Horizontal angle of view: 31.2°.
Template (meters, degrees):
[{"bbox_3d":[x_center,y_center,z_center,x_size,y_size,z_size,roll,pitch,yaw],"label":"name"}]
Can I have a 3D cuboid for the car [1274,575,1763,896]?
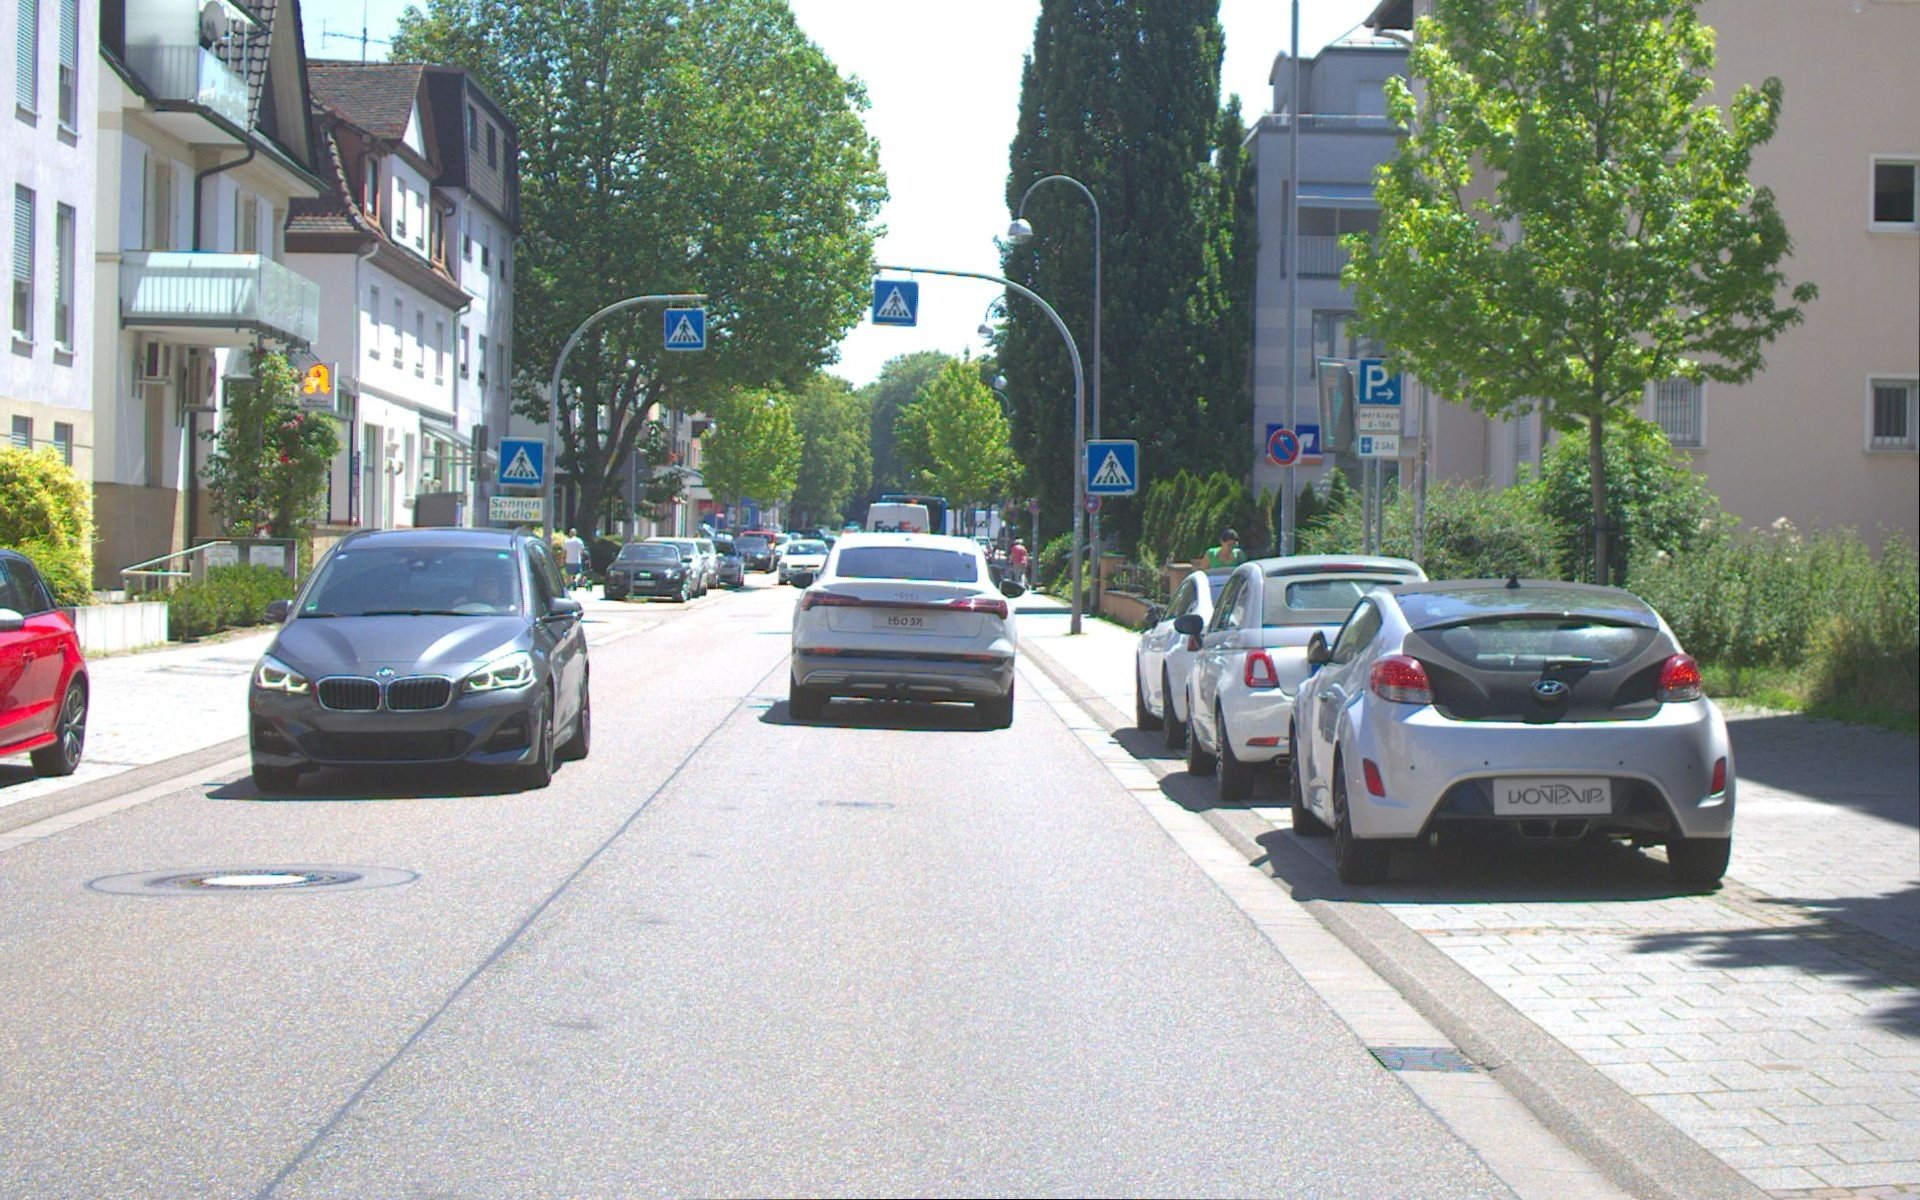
[{"bbox_3d":[2.655,0.584,17.235,1.862,1.368,4.000,0,1,1],"label":"car"}]

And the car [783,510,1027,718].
[{"bbox_3d":[-0.480,0.073,30.787,1.936,1.609,4.472,4,1,-1],"label":"car"}]

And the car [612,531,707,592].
[{"bbox_3d":[-7.033,-0.921,80.849,1.993,1.345,4.001,1,1,-2],"label":"car"}]

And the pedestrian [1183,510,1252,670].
[{"bbox_3d":[2.849,-0.115,38.106,0.637,1.752,0.617,1,1,-5],"label":"pedestrian"}]

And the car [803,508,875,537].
[{"bbox_3d":[-7.230,-4.638,205.537,3.988,1.645,2.000,1,1,6],"label":"car"}]

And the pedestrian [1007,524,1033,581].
[{"bbox_3d":[1.807,-1.442,103.993,0.693,1.730,0.668,1,1,-5],"label":"pedestrian"}]

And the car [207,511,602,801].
[{"bbox_3d":[-3.467,0.281,22.252,1.974,1.665,4.472,1,1,-2],"label":"car"}]

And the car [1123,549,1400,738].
[{"bbox_3d":[2.353,0.292,27.835,1.726,1.378,4.402,0,1,-2],"label":"car"}]

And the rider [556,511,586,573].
[{"bbox_3d":[-9.813,-1.454,86.794,0.661,1.548,0.661,1,1,-1],"label":"rider"}]

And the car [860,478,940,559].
[{"bbox_3d":[-1.769,-2.357,99.744,2.069,2.189,5.139,2,1,-3],"label":"car"}]

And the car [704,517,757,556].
[{"bbox_3d":[-9.292,-2.570,139.496,1.993,1.514,4.001,1,1,-2],"label":"car"}]

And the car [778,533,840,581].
[{"bbox_3d":[-4.931,-1.416,112.737,1.978,1.514,4.001,1,1,-2],"label":"car"}]

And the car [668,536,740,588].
[{"bbox_3d":[-7.761,-1.177,104.597,1.993,1.514,4.001,1,1,-2],"label":"car"}]

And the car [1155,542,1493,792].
[{"bbox_3d":[2.319,0.366,22.883,1.658,1.483,4.346,0,1,-2],"label":"car"}]

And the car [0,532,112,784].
[{"bbox_3d":[-6.324,0.299,20.120,1.649,1.414,3.906,4,1,0],"label":"car"}]

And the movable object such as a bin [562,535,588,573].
[{"bbox_3d":[-9.797,-1.169,87.408,0.587,0.949,0.566,1,1,-1],"label":"movable object such as a bin"}]
